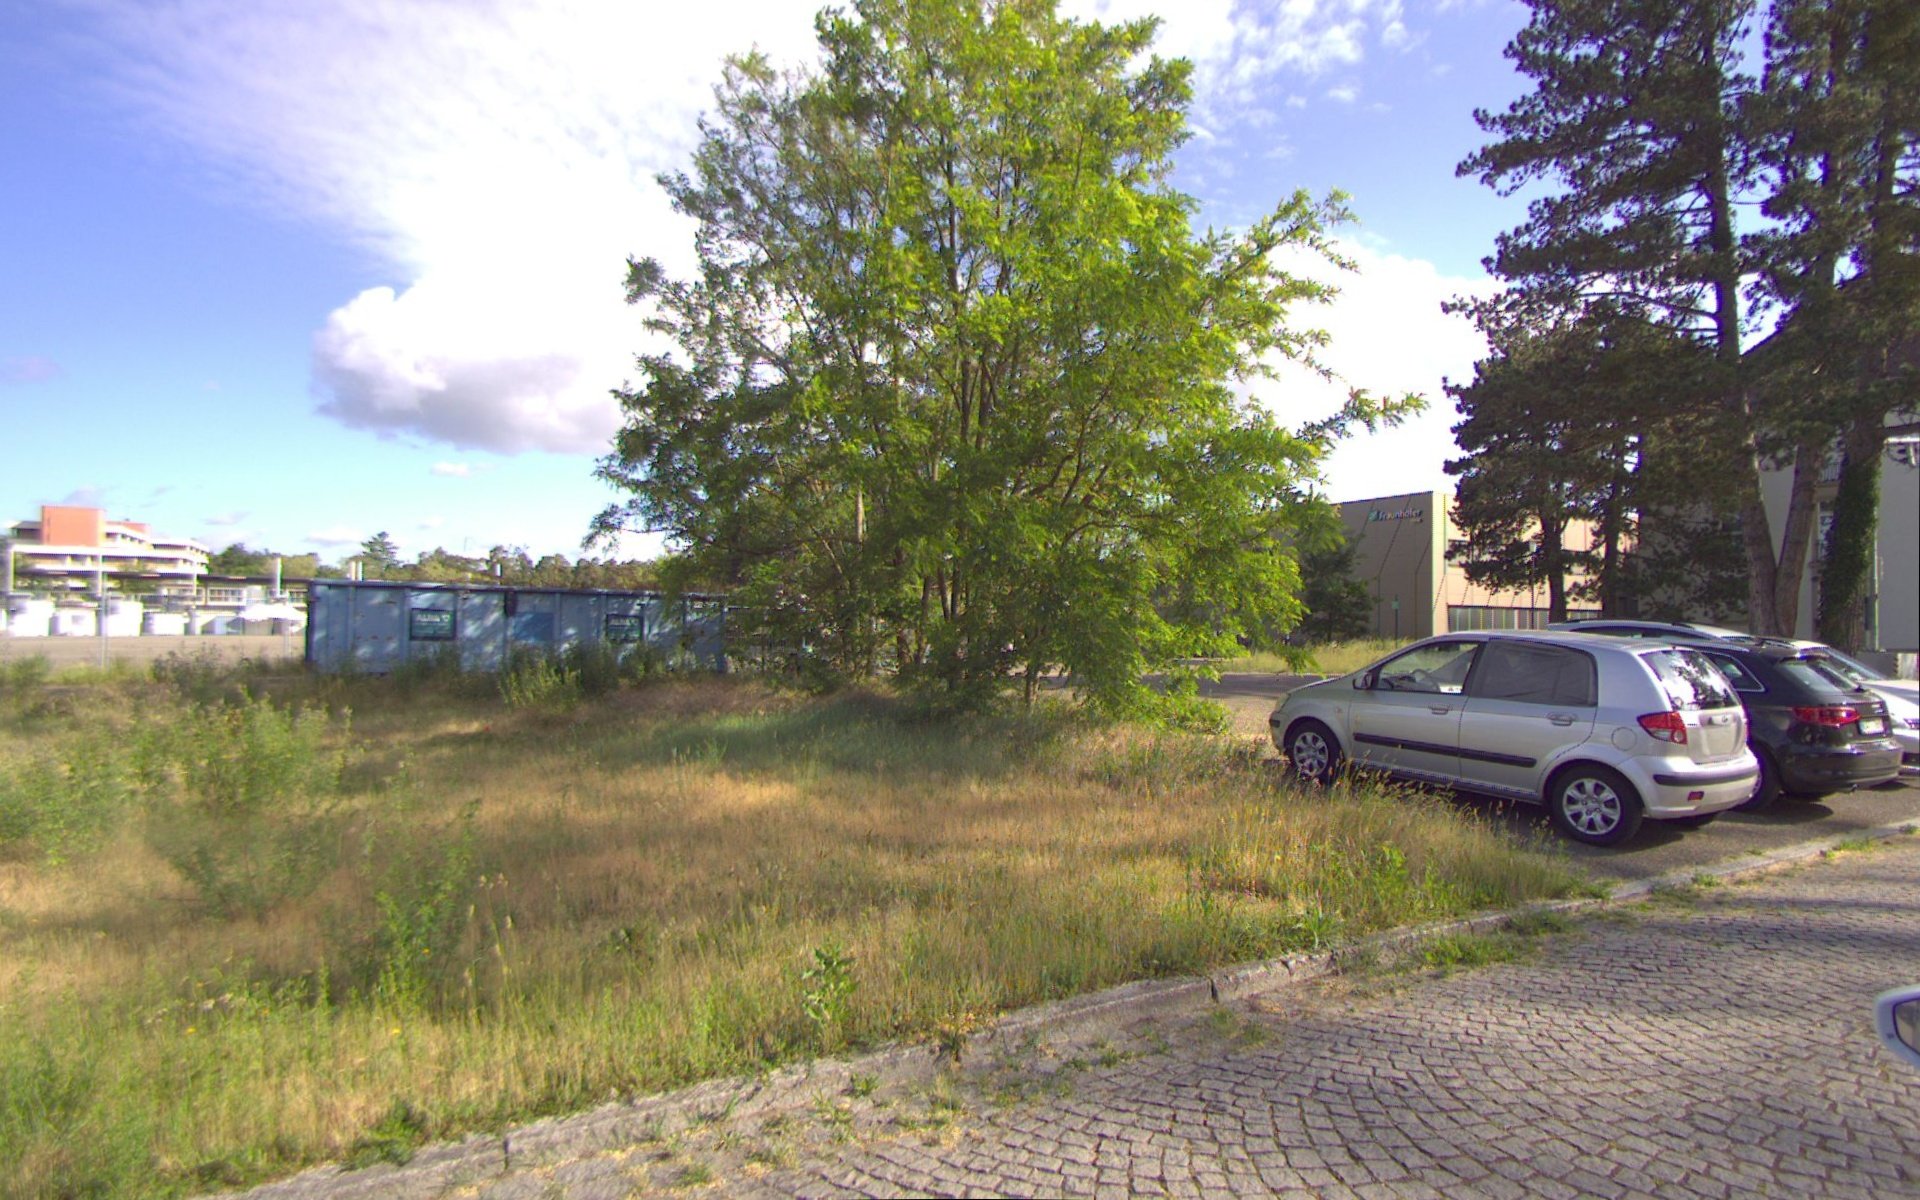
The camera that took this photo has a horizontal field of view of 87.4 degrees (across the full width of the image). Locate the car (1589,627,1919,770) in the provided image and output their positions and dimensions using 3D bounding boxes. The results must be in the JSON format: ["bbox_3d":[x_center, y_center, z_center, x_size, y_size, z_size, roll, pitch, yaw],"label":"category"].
[{"bbox_3d":[10.997,1.185,13.149,1.811,1.488,4.308,1,1,-32],"label":"car"}]

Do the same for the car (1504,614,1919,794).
[{"bbox_3d":[9.000,1.048,11.946,1.865,1.614,4.057,1,1,-32],"label":"car"}]

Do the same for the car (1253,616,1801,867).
[{"bbox_3d":[4.517,0.959,8.549,1.628,1.507,3.724,1,1,-32],"label":"car"}]

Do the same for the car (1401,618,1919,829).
[{"bbox_3d":[6.714,1.007,9.966,1.784,1.500,3.964,1,1,-32],"label":"car"}]
